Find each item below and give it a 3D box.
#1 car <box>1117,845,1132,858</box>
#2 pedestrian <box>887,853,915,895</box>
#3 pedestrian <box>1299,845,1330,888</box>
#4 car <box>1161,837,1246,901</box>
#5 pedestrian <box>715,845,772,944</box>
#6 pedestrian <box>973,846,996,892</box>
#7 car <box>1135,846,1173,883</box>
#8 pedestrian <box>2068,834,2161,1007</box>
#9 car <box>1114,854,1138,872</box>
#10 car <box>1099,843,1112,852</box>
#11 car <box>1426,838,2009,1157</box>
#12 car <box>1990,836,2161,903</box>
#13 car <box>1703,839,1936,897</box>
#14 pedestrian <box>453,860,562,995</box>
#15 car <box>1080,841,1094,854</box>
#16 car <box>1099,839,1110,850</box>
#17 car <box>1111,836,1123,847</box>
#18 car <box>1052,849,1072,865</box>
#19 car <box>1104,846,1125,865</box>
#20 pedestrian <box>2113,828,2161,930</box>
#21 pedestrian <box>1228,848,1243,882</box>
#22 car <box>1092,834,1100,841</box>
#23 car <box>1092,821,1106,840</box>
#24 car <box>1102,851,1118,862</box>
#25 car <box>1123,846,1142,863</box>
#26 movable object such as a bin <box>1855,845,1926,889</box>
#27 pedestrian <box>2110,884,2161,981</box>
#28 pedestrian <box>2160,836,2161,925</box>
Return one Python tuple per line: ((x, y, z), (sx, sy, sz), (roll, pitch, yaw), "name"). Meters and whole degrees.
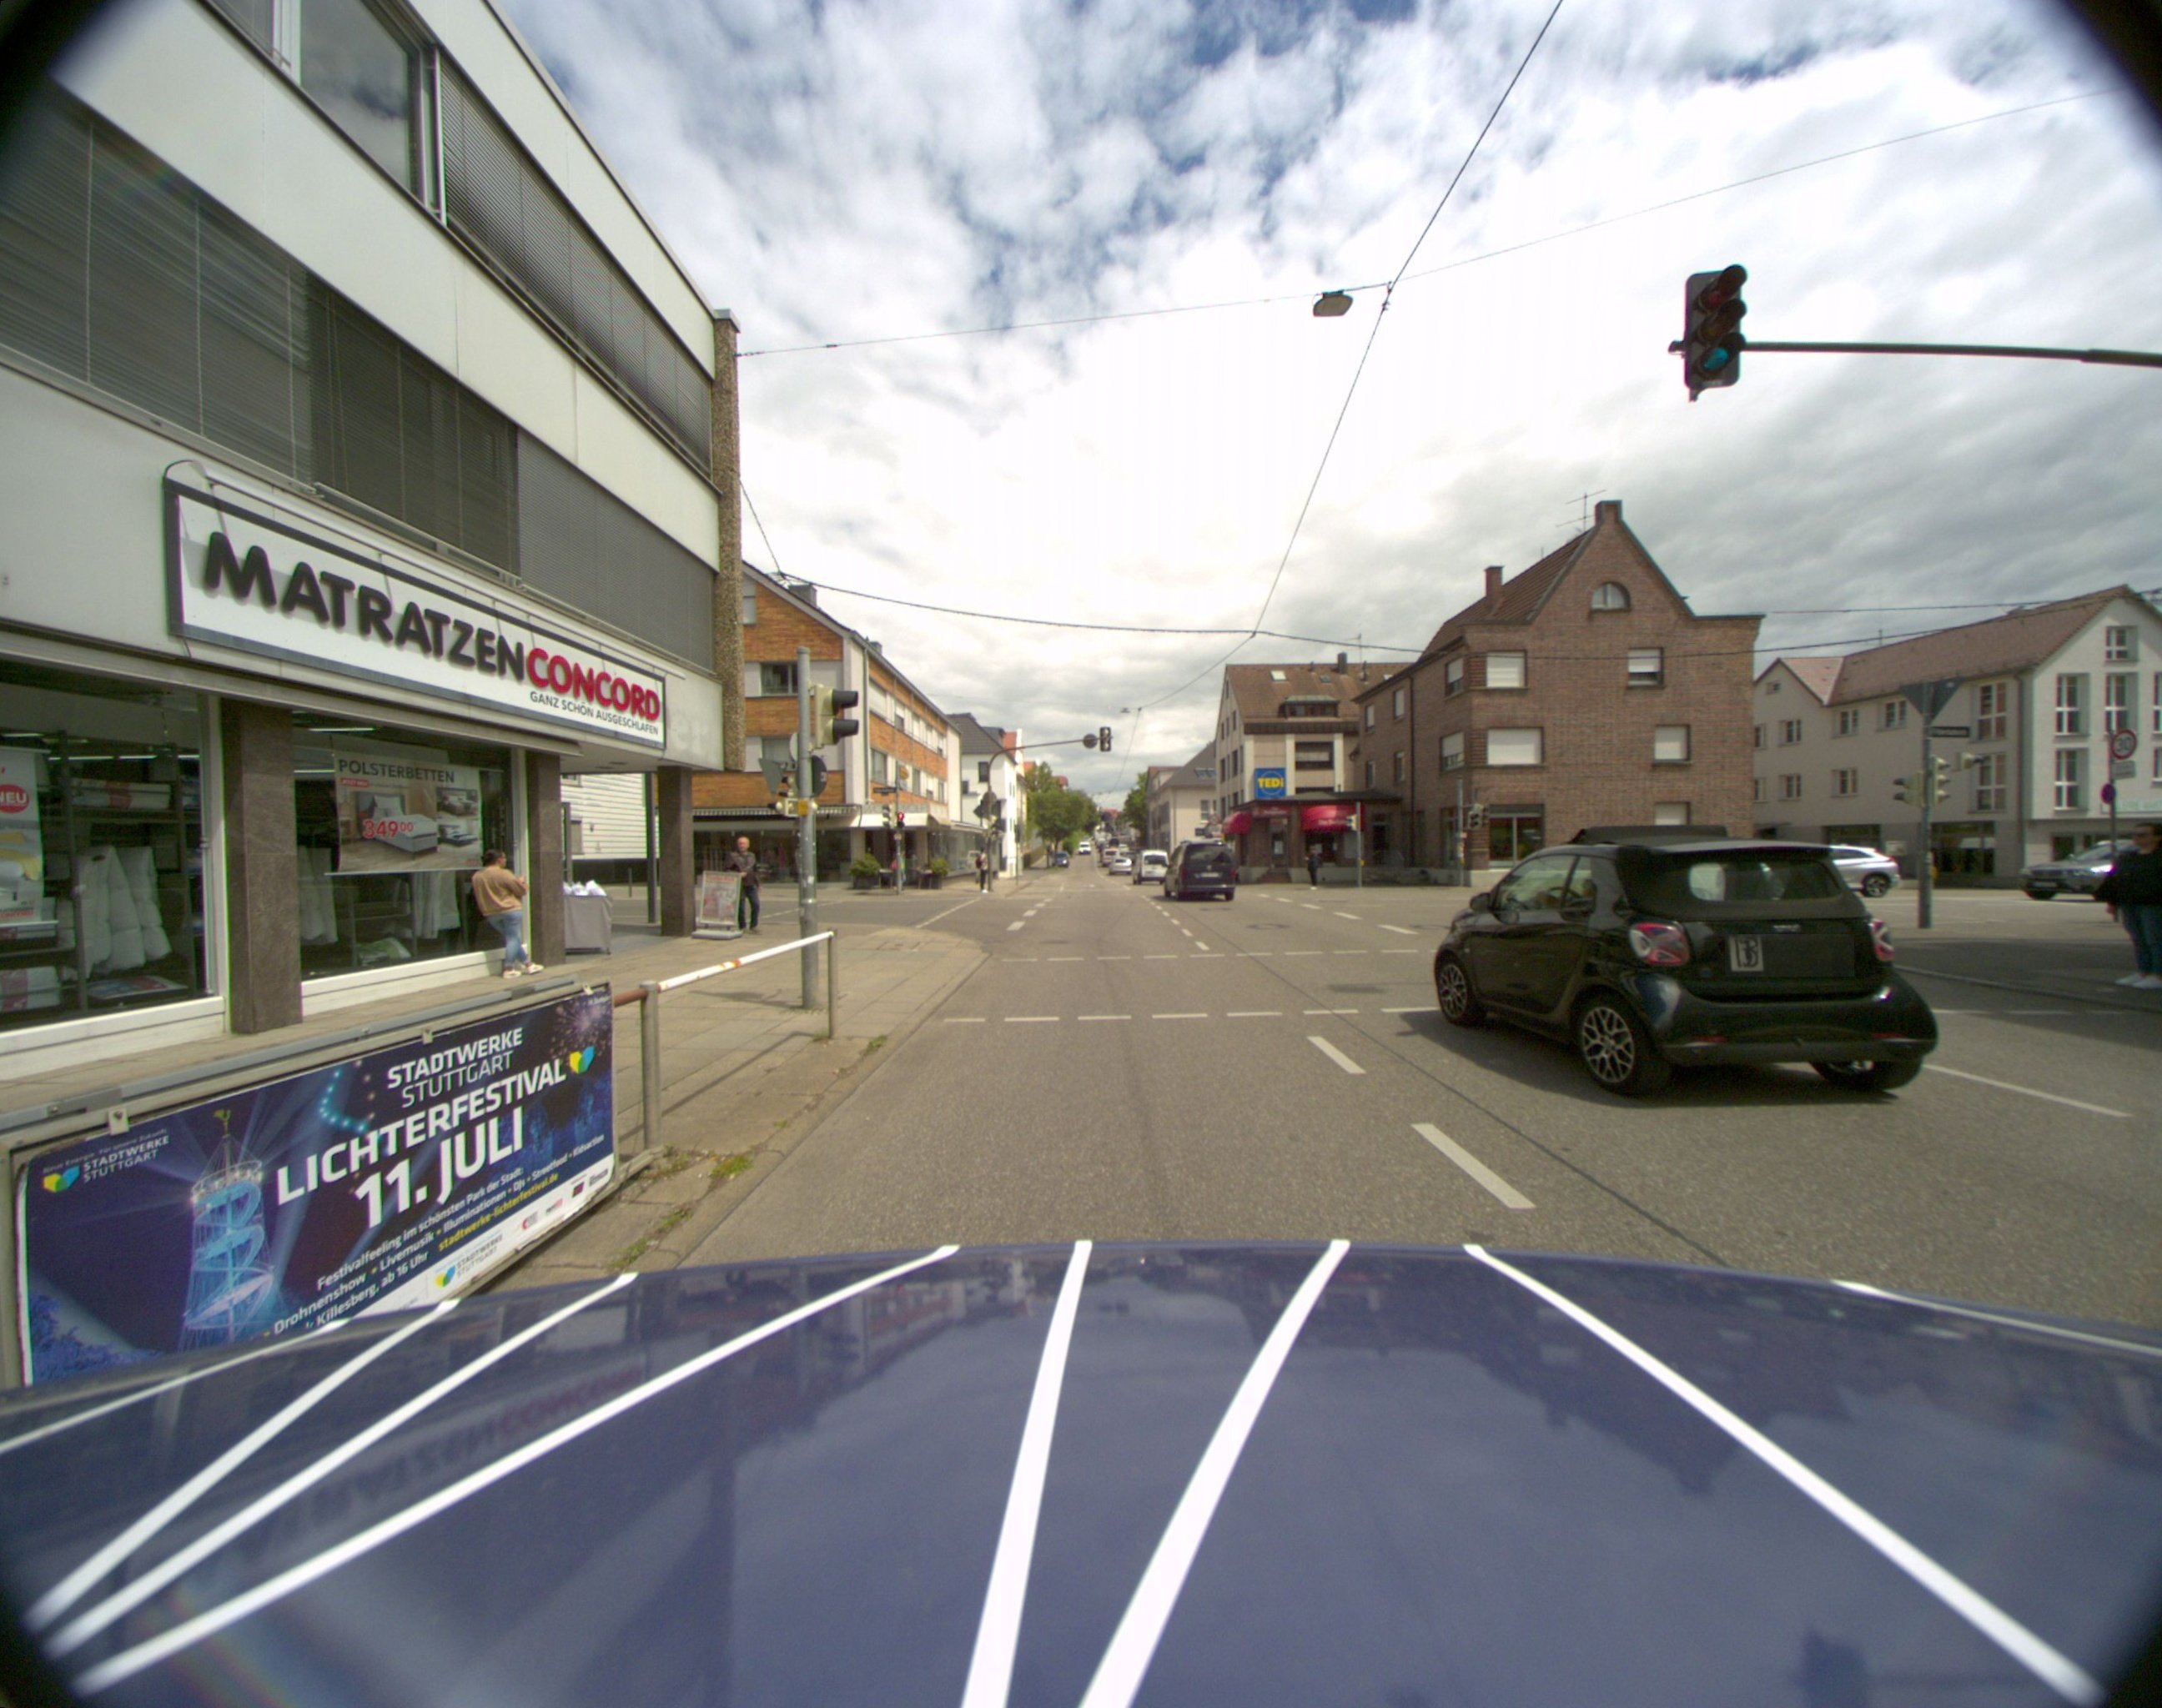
((6.413, -0.404, 112.401), (2.110, 1.778, 4.529), (-1, 0, 1), "car")
((-6.714, 0.736, 28.337), (0.820, 1.517, 0.778), (-1, 1, -32), "pedestrian")
((9.480, 0.515, 30.886), (0.908, 1.713, 0.849), (-1, 1, -41), "pedestrian")
((3.858, 0.415, 24.780), (1.953, 1.866, 4.876), (0, 1, 0), "car")
((-5.877, 0.678, 13.278), (0.798, 1.661, 0.806), (0, 1, -16), "pedestrian")
((-3.843, 0.587, 30.319), (0.581, 1.820, 0.882), (1, 1, 17), "pedestrian")
((4.020, 0.555, 42.493), (1.819, 1.919, 4.112), (0, 0, 1), "car")
((10.611, 0.623, 7.536), (0.719, 1.635, 0.682), (-2, 1, 6), "pedestrian")
((3.778, 0.766, 64.781), (1.757, 1.478, 3.970), (0, 0, -1), "car")
((3.872, -1.000, 120.523), (1.858, 1.414, 4.192), (0, 0, -1), "car")
((3.910, 0.733, 5.315), (1.681, 1.626, 2.833), (0, 0, -1), "car")
((28.196, 0.389, 20.716), (4.348, 1.744, 2.000), (0, 0, 1), "car")
((23.274, 0.431, 24.125), (5.254, 1.758, 2.001), (0, 0, 4), "car")
((-6.625, 0.818, 8.811), (0.681, 1.490, 0.720), (0, 1, 1), "pedestrian")
((0.832, -0.976, 114.389), (2.000, 1.797, 4.764), (1, 0, -1), "car")
((4.145, -1.718, 135.181), (1.858, 1.957, 4.192), (0, 0, -1), "car")
((6.824, -2.382, 145.986), (2.110, 2.109, 4.765), (0, 0, 1), "car")
((-2.049, 0.285, 83.440), (1.998, 1.654, 4.000), (0, 0, 1), "car")
((3.657, 0.131, 84.125), (1.982, 1.985, 5.027), (0, 0, -1), "car")
((18.691, 0.412, 13.108), (0.846, 1.729, 0.820), (-2, 1, -20), "pedestrian")
((7.849, 0.535, 38.714), (0.683, 1.706, 0.878), (0, 1, 7), "pedestrian")
((3.630, -4.041, 188.634), (1.998, 1.654, 4.000), (0, 0, 1), "car")
((3.500, -4.616, 150.587), (2.428, 3.409, 7.636), (0, 0, -1), "car")
((3.613, 0.313, 94.902), (1.858, 1.371, 4.271), (0, 0, -1), "car")
((6.322, 0.060, 94.221), (2.110, 2.109, 4.765), (-1, 0, 1), "car")
((31.457, 0.503, 29.554), (1.519, 1.615, 1.145), (-2, 1, 4), "movable object such as a bin")
((12.343, 0.885, 8.572), (0.560, 1.051, 0.662), (-2, 1, 7), "pedestrian")
((20.385, 0.482, 13.628), (0.845, 1.641, 0.822), (-2, 1, 5), "pedestrian")
